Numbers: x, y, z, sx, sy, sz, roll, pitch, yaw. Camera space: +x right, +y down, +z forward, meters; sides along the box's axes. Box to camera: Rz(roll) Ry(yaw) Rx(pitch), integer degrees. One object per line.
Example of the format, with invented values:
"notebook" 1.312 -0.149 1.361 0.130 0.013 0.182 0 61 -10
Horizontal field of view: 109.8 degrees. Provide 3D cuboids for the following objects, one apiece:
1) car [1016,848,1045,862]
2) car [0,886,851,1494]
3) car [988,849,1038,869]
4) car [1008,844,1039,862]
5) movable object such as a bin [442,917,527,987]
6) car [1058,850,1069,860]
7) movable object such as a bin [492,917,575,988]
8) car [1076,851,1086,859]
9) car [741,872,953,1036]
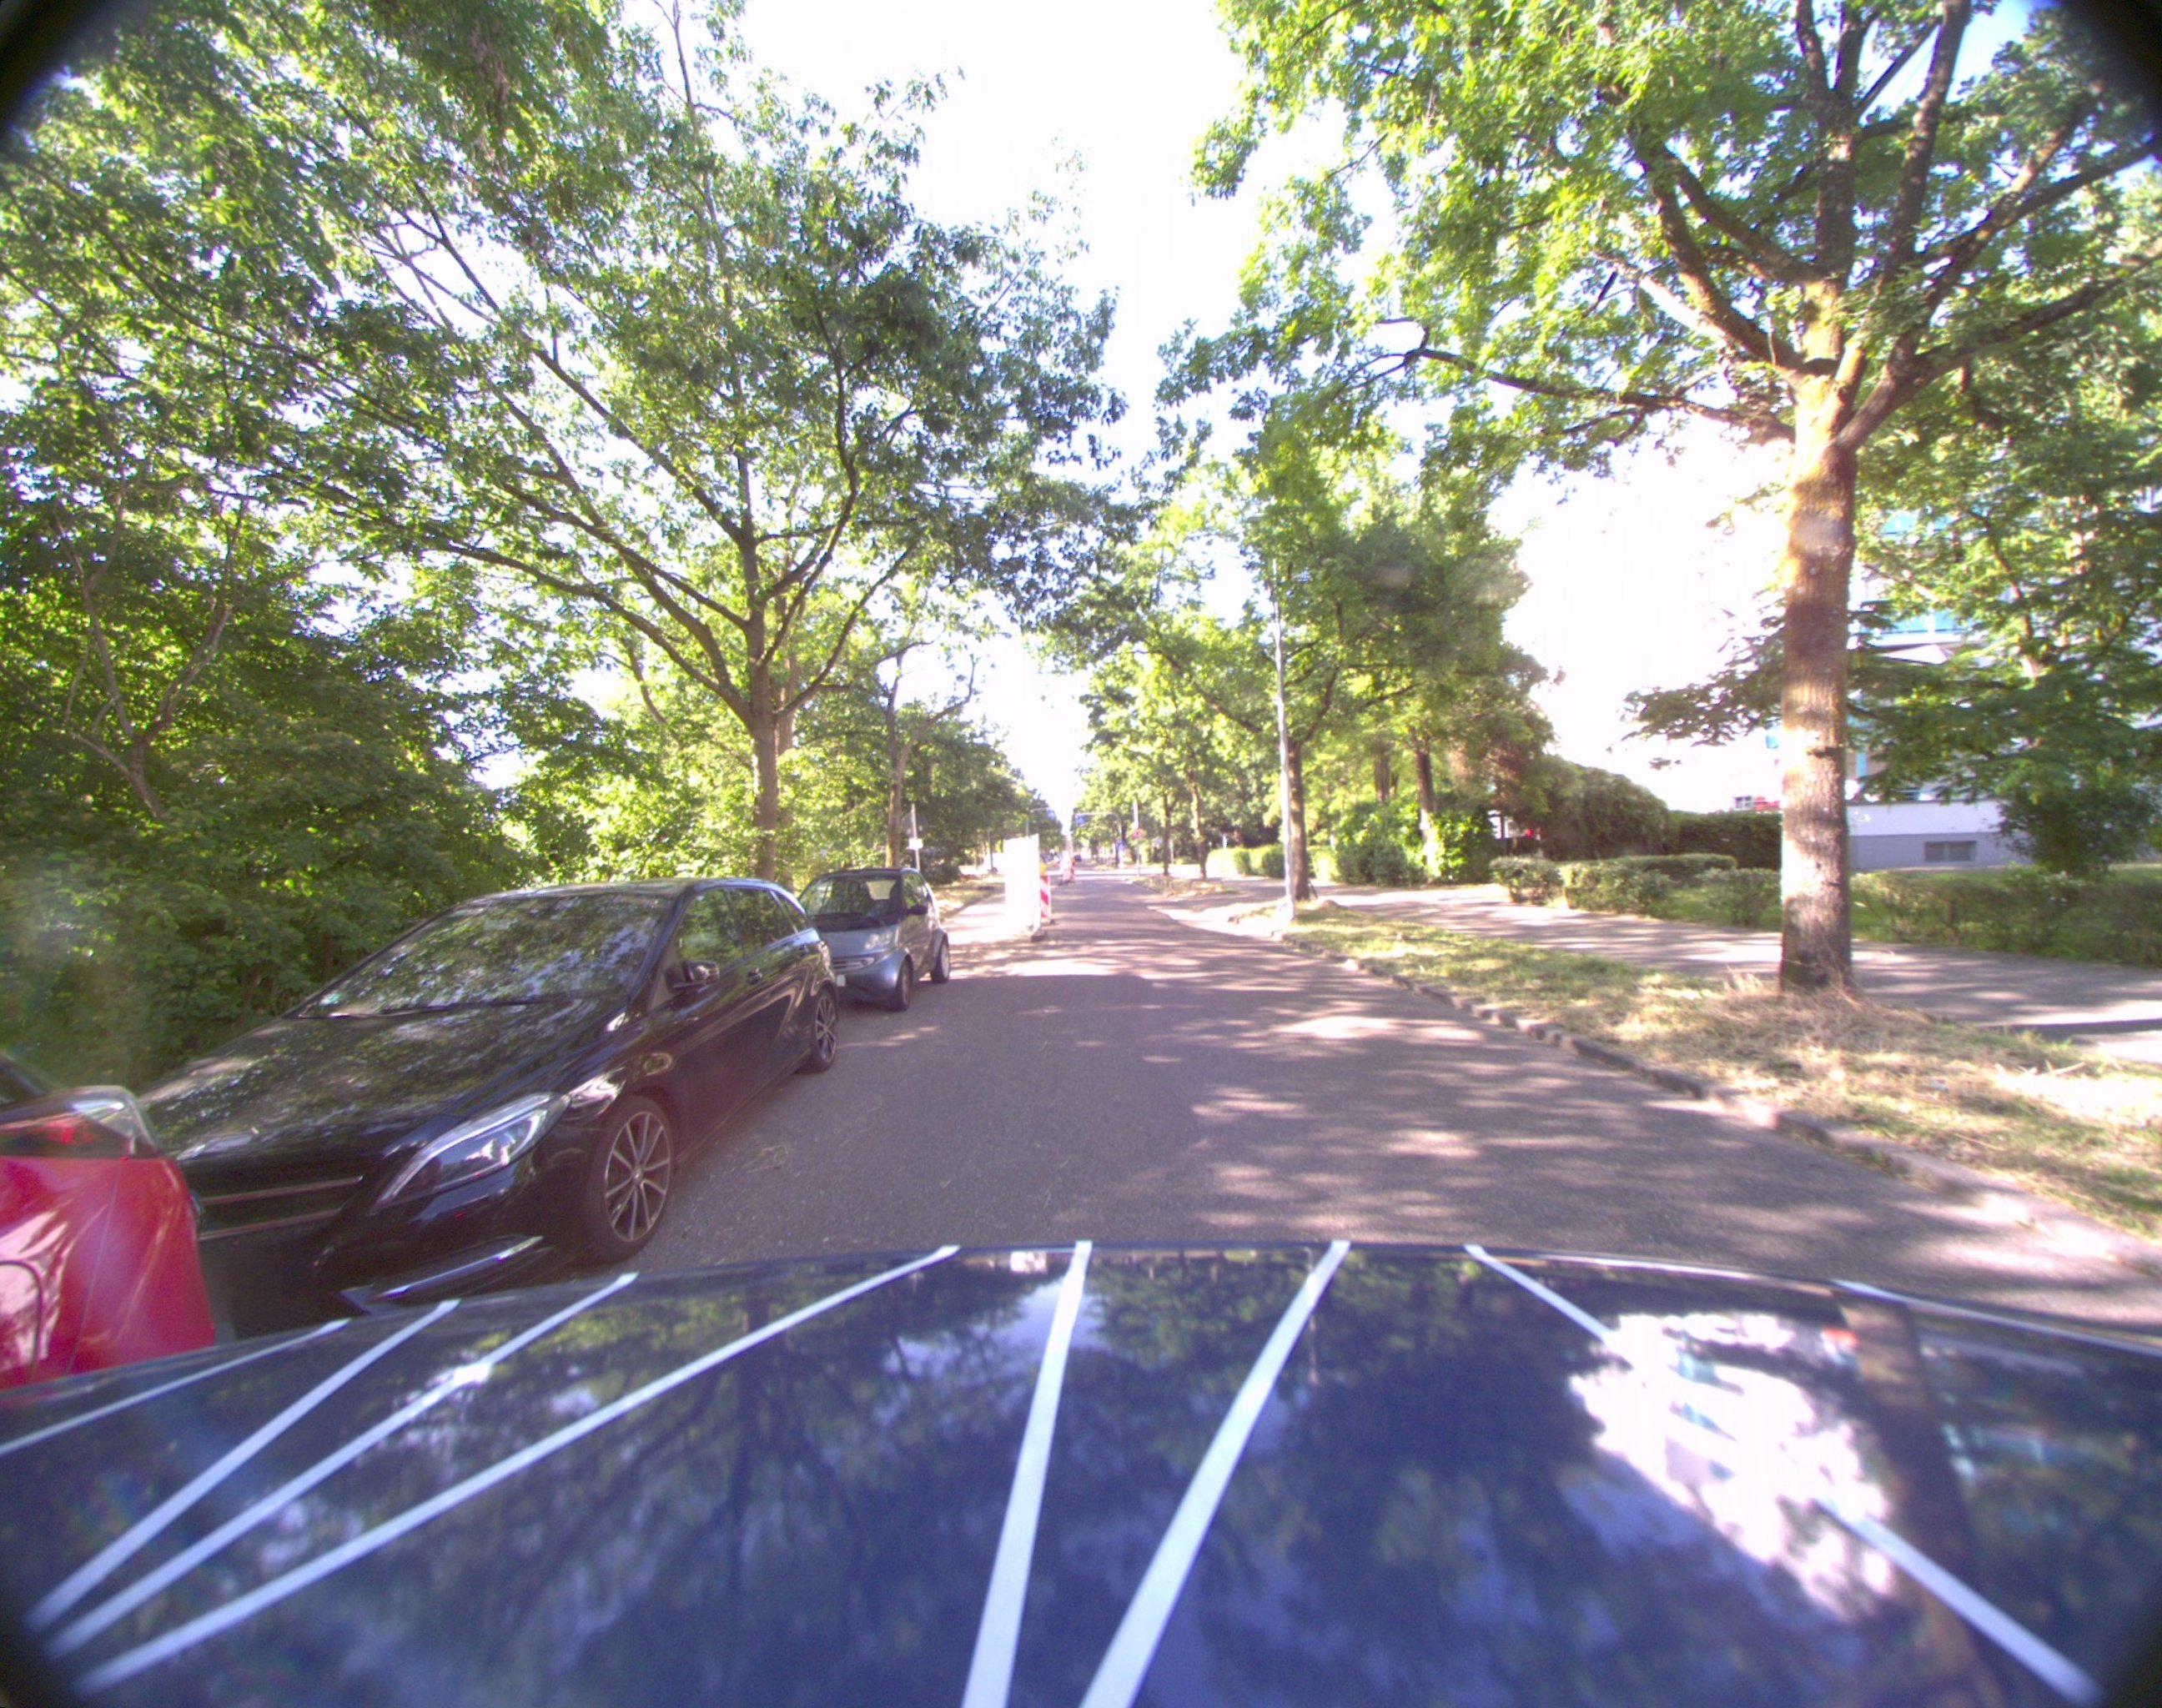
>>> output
"car" -7.608 0.191 114.786 4.245 1.993 1.565 -1 0 -4
"car" -2.726 1.055 4.257 1.716 1.500 4.148 -3 0 -3
"car" -7.310 0.547 82.105 5.269 1.993 2.000 -1 0 -2
"car" -8.273 -0.145 109.517 4.412 2.531 1.888 -1 0 -4
"movable object such as a bin" -8.230 1.348 10.503 0.727 0.877 0.462 0 7 6
"car" -3.379 0.247 149.163 1.998 1.871 4.000 0 1 1
"movable object such as a bin" -7.496 1.345 10.423 0.727 0.877 0.462 0 7 6
"car" -0.068 0.224 171.107 1.998 1.805 4.000 -3 0 2
"car" -2.560 1.029 8.913 1.497 1.500 2.677 -3 0 2
